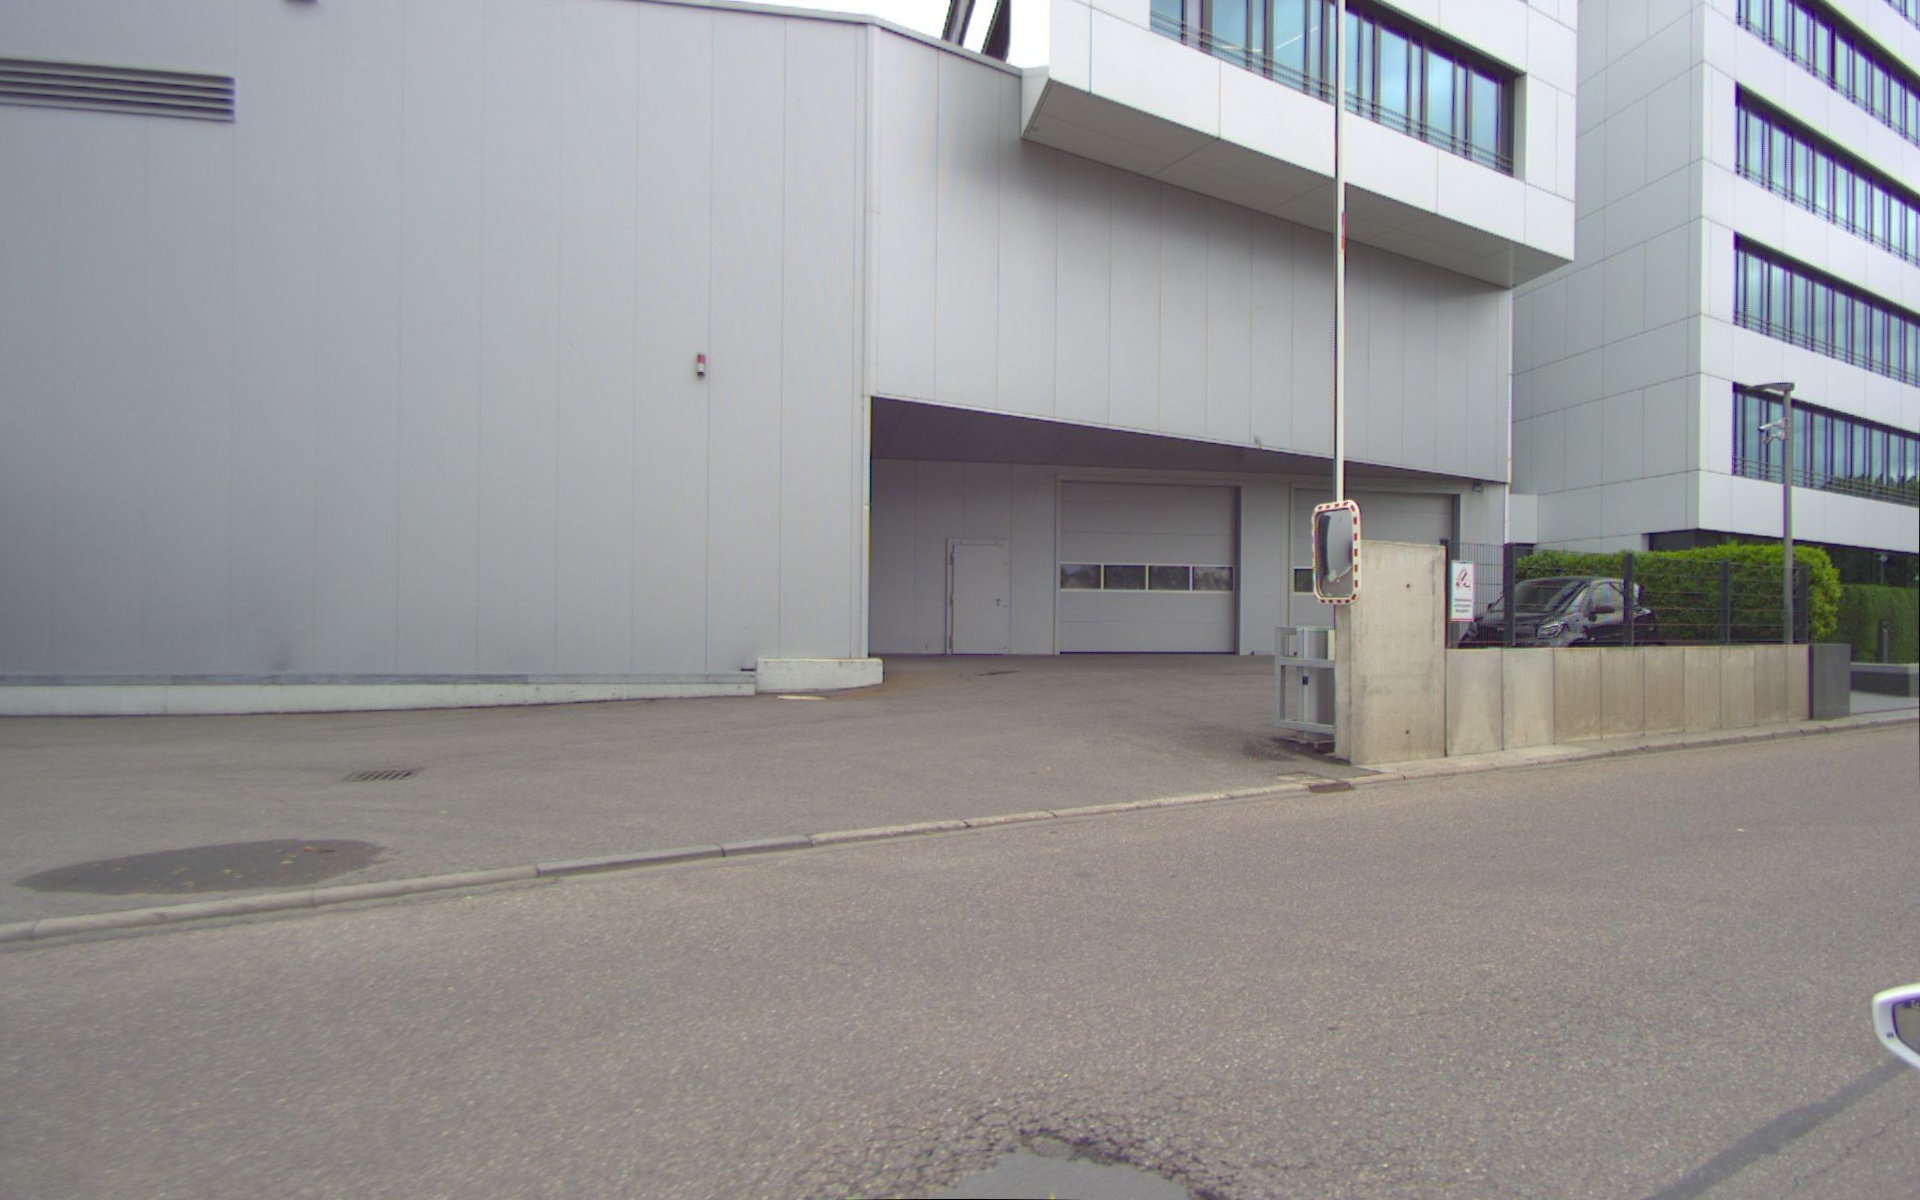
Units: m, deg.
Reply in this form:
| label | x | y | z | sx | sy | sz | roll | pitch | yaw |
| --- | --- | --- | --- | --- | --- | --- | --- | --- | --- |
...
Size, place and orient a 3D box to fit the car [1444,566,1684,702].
| label | x | y | z | sx | sy | sz | roll | pitch | yaw |
| --- | --- | --- | --- | --- | --- | --- | --- | --- | --- |
| car | 8.846 | 0.463 | 14.699 | 3.140 | 1.785 | 1.643 | 1 | 1 | -29 |
